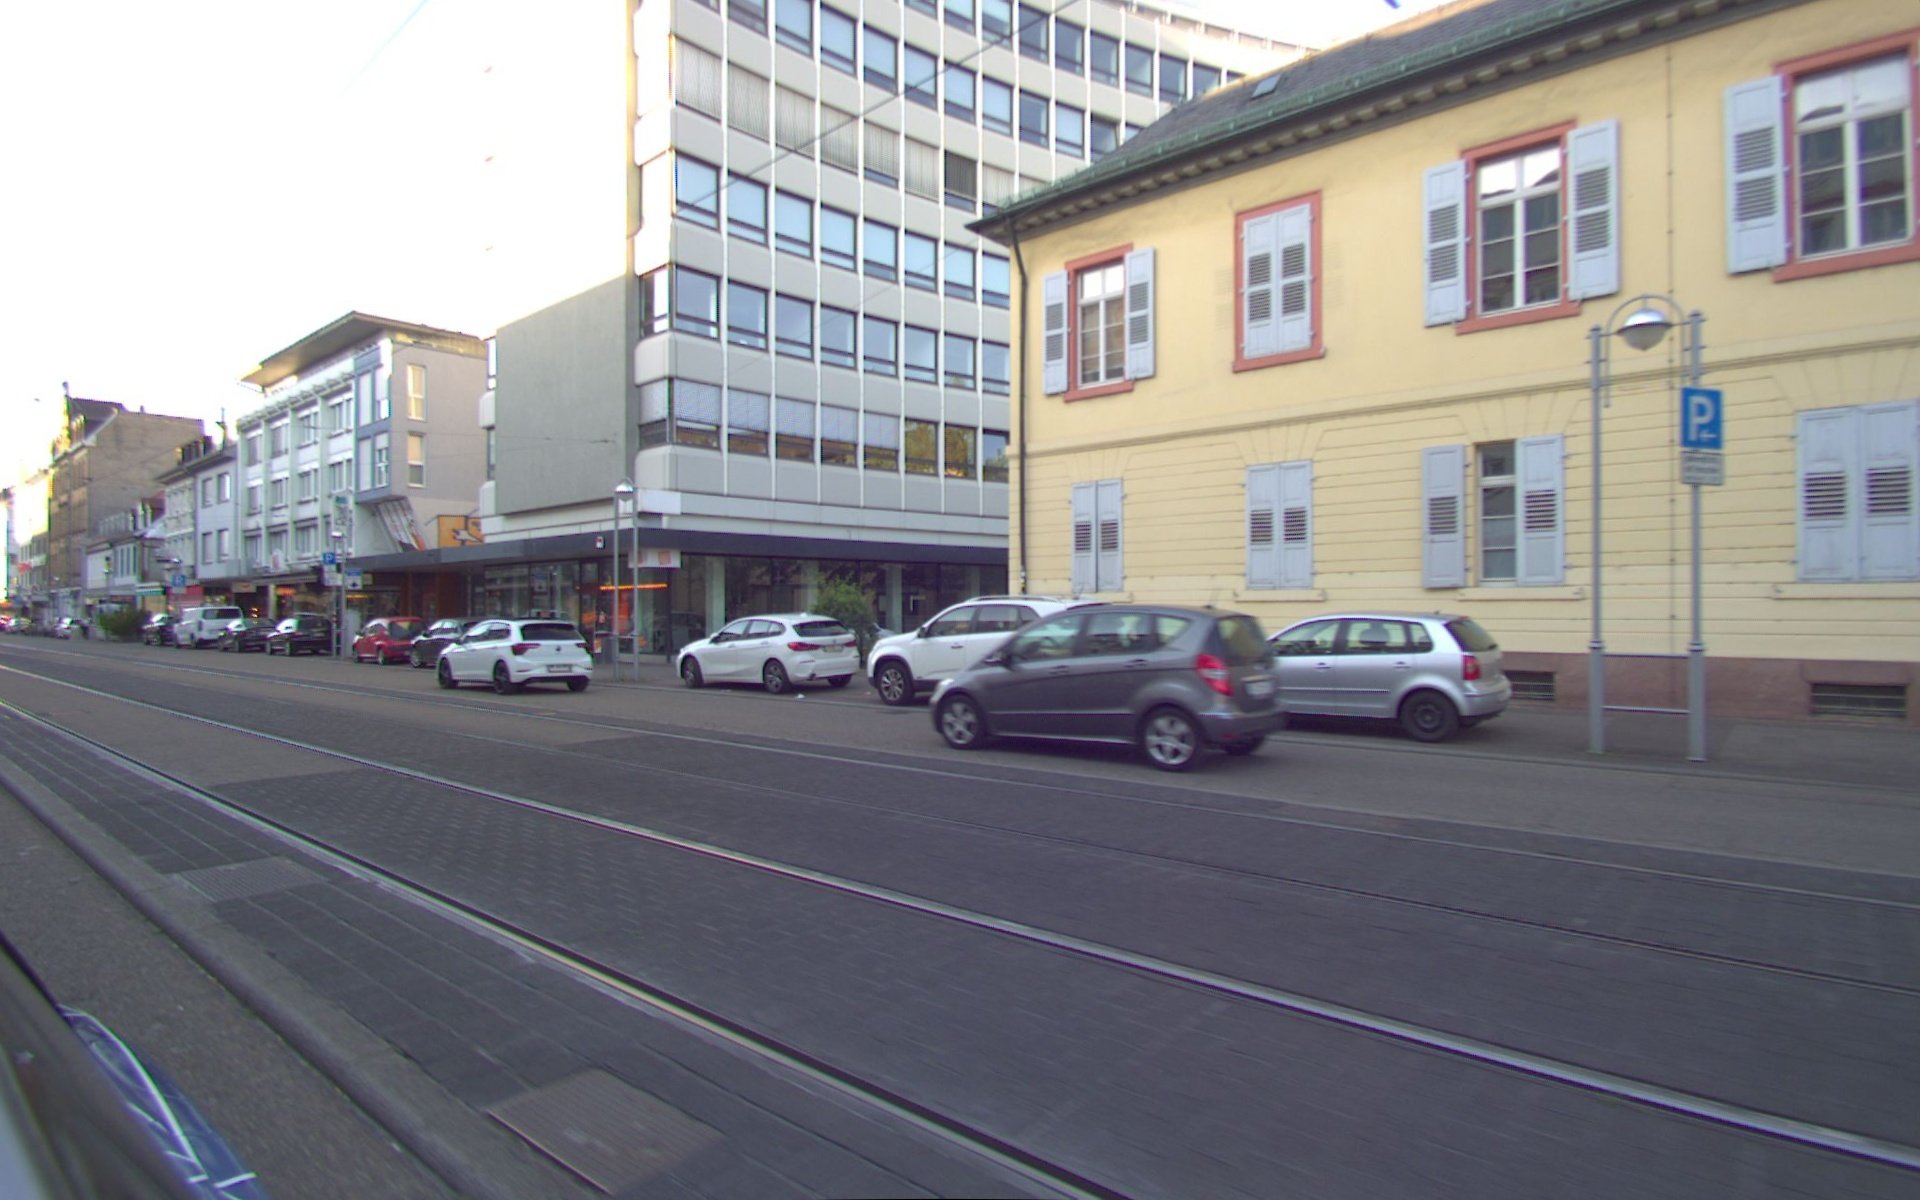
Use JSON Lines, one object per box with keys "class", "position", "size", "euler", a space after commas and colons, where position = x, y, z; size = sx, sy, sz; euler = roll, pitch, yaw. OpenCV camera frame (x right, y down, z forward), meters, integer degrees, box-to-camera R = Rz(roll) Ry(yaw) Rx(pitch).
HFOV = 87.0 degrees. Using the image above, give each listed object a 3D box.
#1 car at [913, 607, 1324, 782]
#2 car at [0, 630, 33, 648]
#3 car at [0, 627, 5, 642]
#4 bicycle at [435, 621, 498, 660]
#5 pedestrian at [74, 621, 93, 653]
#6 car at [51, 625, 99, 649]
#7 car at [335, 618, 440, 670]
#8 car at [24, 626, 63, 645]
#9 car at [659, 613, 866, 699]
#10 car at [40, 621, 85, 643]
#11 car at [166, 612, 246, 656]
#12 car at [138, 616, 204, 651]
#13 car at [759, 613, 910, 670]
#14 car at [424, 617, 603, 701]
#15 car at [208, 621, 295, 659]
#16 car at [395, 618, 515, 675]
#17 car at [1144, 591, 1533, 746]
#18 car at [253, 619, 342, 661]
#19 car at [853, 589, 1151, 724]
{"class": "car", "position": [1.560, 0.870, 10.790], "size": [4.031, 1.523, 1.718], "euler": [-1, -2, 39]}
{"class": "car", "position": [-86.522, 3.562, 92.693], "size": [4.204, 1.564, 1.973], "euler": [-2, -2, 41]}
{"class": "car", "position": [-102.603, 3.669, 107.000], "size": [3.998, 1.564, 1.973], "euler": [-2, -2, 41]}
{"class": "bicycle", "position": [-18.505, 1.505, 37.996], "size": [0.833, 1.436, 1.948], "euler": [-1, -2, 39]}
{"class": "pedestrian", "position": [-56.311, 2.397, 65.005], "size": [0.811, 2.029, 0.714], "euler": [1, -2, -33]}
{"class": "car", "position": [-62.208, 2.588, 71.089], "size": [4.877, 1.556, 1.972], "euler": [-2, -1, 42]}
{"class": "car", "position": [-18.542, 1.379, 32.713], "size": [4.213, 1.523, 1.668], "euler": [-2, -1, 42]}
{"class": "car", "position": [-77.117, 2.961, 85.157], "size": [3.998, 1.564, 1.973], "euler": [-2, -2, 41]}
{"class": "car", "position": [-4.025, 1.054, 20.163], "size": [4.432, 1.523, 1.792], "euler": [-2, -2, 43]}
{"class": "car", "position": [-66.205, 2.323, 74.619], "size": [4.550, 1.556, 1.889], "euler": [-2, -2, 41]}
{"class": "car", "position": [-36.029, 1.592, 48.307], "size": [5.159, 1.992, 1.935], "euler": [-1, -2, 40]}
{"class": "car", "position": [-41.544, 1.733, 53.233], "size": [4.524, 1.734, 1.839], "euler": [-1, 0, 40]}
{"class": "car", "position": [-3.454, 1.126, 28.306], "size": [1.846, 1.478, 3.943], "euler": [-2, -2, 43]}
{"class": "car", "position": [-9.105, 1.132, 20.488], "size": [4.033, 1.523, 1.787], "euler": [-1, -2, 41]}
{"class": "car", "position": [-30.407, 1.676, 43.376], "size": [4.555, 1.477, 1.973], "euler": [-1, -1, 40]}
{"class": "car", "position": [-14.686, 1.306, 29.339], "size": [4.213, 1.523, 1.668], "euler": [-1, -1, 42]}
{"class": "car", "position": [4.621, 0.780, 12.695], "size": [4.210, 1.629, 1.794], "euler": [-2, -2, 39]}
{"class": "car", "position": [-25.471, 1.520, 38.845], "size": [4.443, 1.523, 1.668], "euler": [-1, -3, 41]}
{"class": "car", "position": [0.555, 0.802, 15.983], "size": [4.493, 1.799, 1.794], "euler": [-1, 1, 40]}
